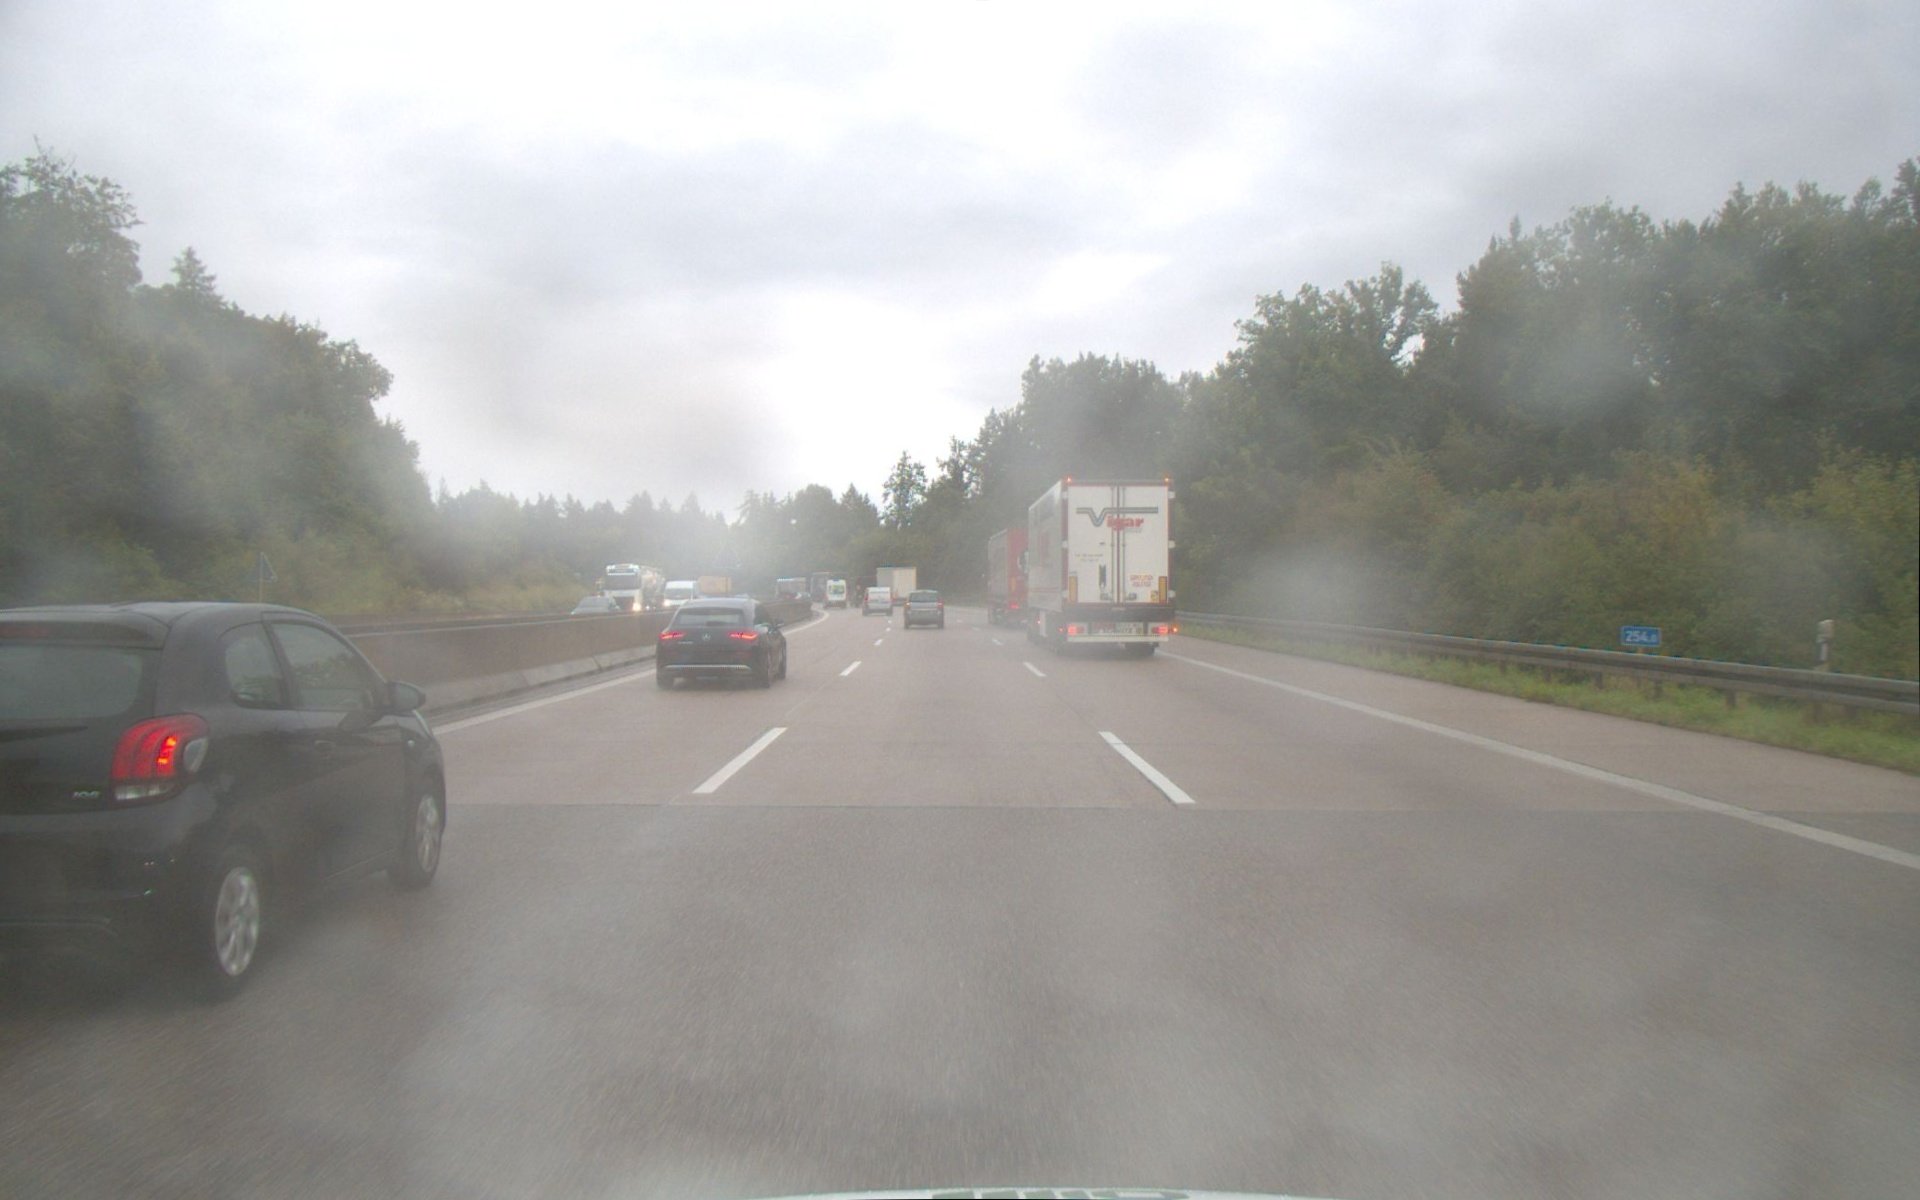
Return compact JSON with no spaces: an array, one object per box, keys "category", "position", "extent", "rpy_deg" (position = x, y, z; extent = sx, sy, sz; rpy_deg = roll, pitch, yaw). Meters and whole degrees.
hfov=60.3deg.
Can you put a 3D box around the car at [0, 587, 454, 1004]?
[{"category":"car","position":[-3.545,0.699,7.786],"extent":[1.652,1.488,3.676],"rpy_deg":[1,0,-8]}]

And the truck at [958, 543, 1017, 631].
[{"category":"truck","position":[1.268,-0.602,79.044],"extent":[2.328,4.023,6.156],"rpy_deg":[1,0,-3]}]

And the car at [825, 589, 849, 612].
[{"category":"car","position":[-11.794,0.028,158.031],"extent":[1.956,2.095,3.992],"rpy_deg":[-1,0,-9]}]

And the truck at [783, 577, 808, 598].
[{"category":"truck","position":[-23.314,-1.794,233.884],"extent":[3.027,2.956,7.885],"rpy_deg":[0,1,-10]}]

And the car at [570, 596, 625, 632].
[{"category":"car","position":[-16.529,0.611,75.571],"extent":[1.575,1.581,4.641],"rpy_deg":[0,0,-1]}]

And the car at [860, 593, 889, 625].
[{"category":"car","position":[-5.703,0.553,110.106],"extent":[1.692,2.049,3.651],"rpy_deg":[-1,0,-7]}]

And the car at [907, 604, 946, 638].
[{"category":"car","position":[-1.465,0.890,71.113],"extent":[1.523,1.375,3.681],"rpy_deg":[1,0,-3]}]

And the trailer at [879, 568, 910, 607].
[{"category":"trailer","position":[-7.110,-1.393,178.138],"extent":[2.374,4.139,12.037],"rpy_deg":[0,1,-7]}]

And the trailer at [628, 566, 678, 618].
[{"category":"trailer","position":[-22.841,-0.620,123.488],"extent":[2.494,3.731,8.226],"rpy_deg":[0,0,-2]}]

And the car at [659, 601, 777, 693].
[{"category":"car","position":[-3.964,0.730,27.522],"extent":[1.522,1.375,3.682],"rpy_deg":[1,0,-2]}]

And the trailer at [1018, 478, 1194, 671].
[{"category":"trailer","position":[3.414,-0.585,42.809],"extent":[2.680,4.175,13.675],"rpy_deg":[-1,0,-3]}]

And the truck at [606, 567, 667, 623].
[{"category":"truck","position":[-22.581,-0.341,115.956],"extent":[2.512,3.731,10.487],"rpy_deg":[0,0,-2]}]

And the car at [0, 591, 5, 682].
[{"category":"car","position":[-19.106,0.690,28.978],"extent":[1.953,1.729,4.973],"rpy_deg":[0,0,-1]}]

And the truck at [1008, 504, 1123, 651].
[{"category":"truck","position":[3.109,-0.655,50.305],"extent":[2.743,4.175,5.964],"rpy_deg":[-1,0,-3]}]

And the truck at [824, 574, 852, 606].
[{"category":"truck","position":[-16.884,-1.431,229.066],"extent":[3.305,4.203,10.421],"rpy_deg":[0,1,-7]}]

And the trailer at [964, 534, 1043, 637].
[{"category":"trailer","position":[1.744,-0.577,71.523],"extent":[2.323,4.023,12.512],"rpy_deg":[1,0,-3]}]
